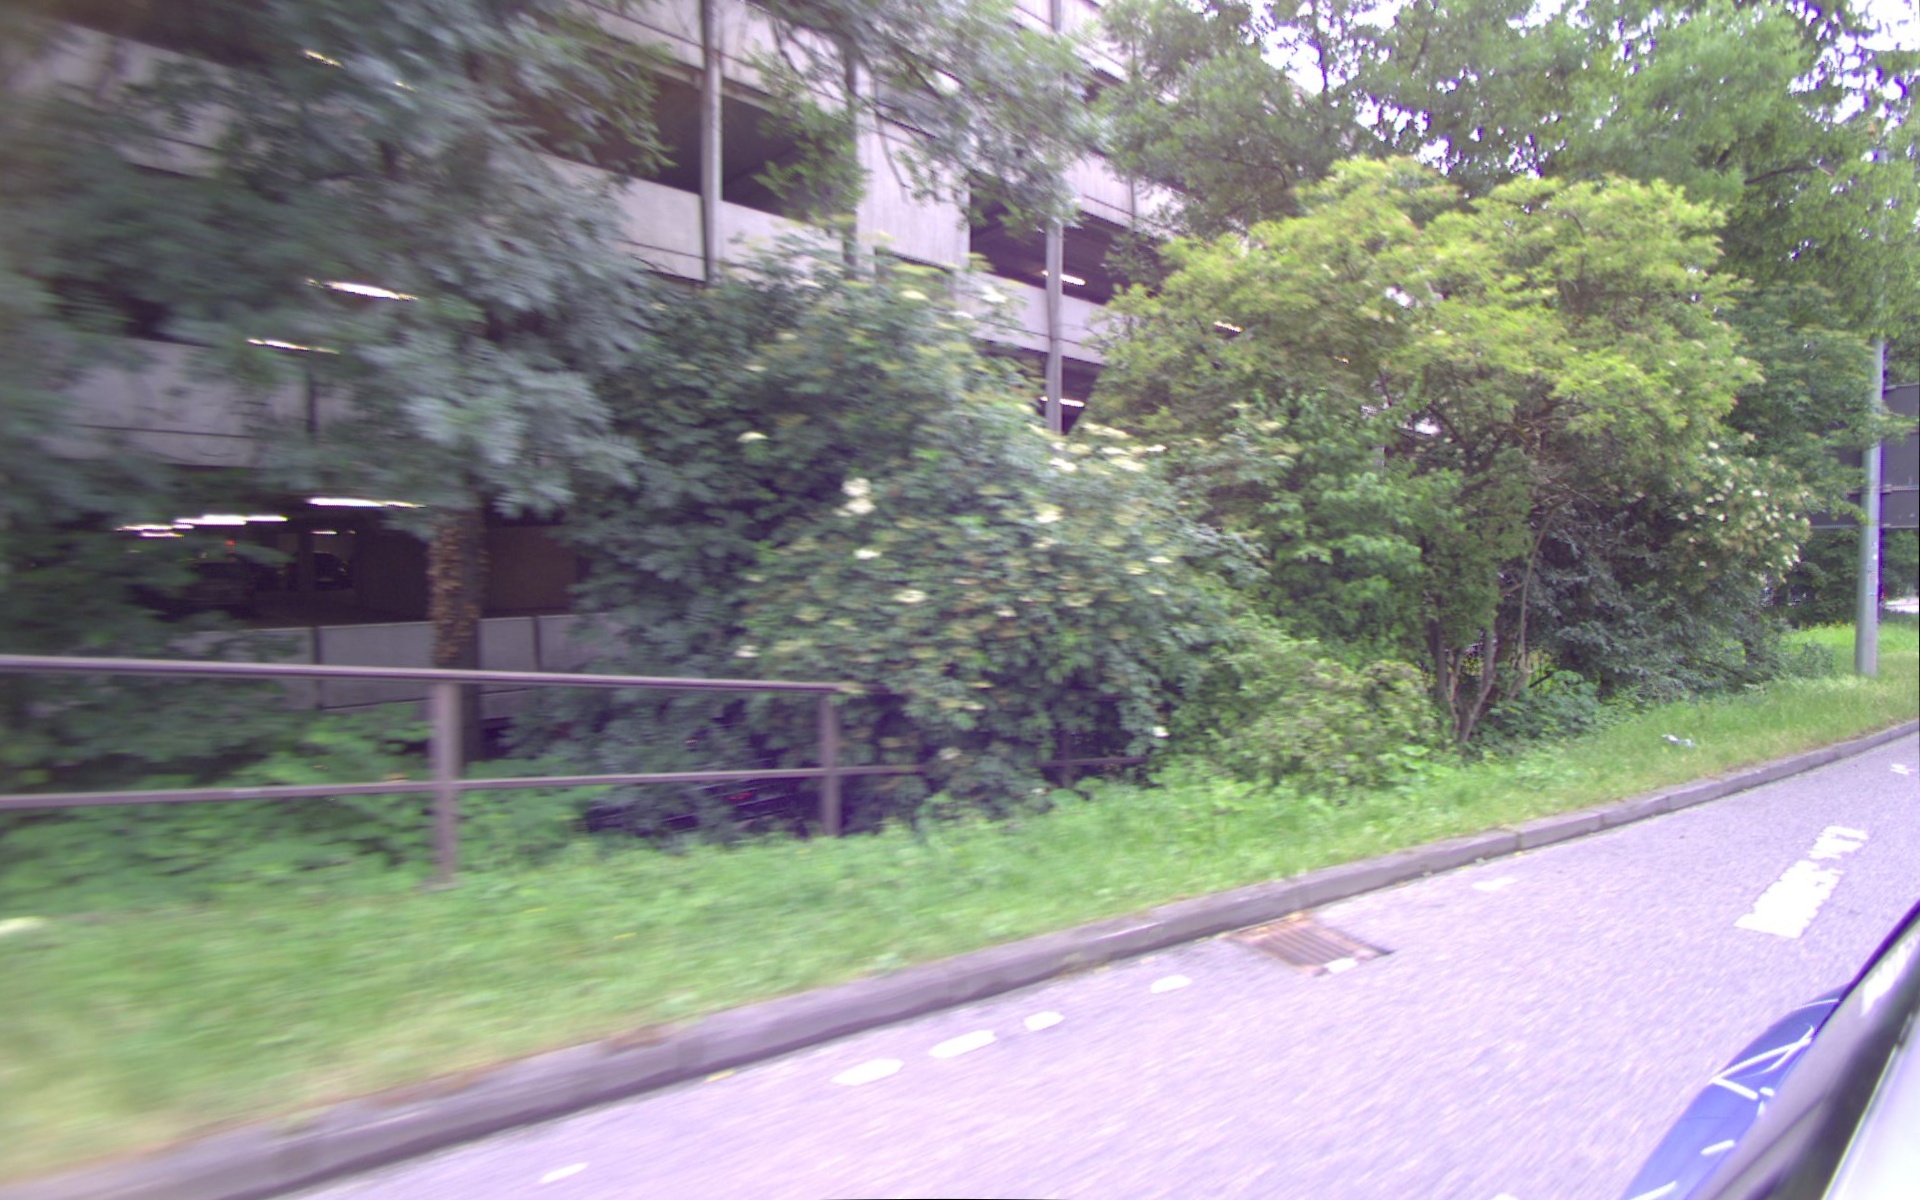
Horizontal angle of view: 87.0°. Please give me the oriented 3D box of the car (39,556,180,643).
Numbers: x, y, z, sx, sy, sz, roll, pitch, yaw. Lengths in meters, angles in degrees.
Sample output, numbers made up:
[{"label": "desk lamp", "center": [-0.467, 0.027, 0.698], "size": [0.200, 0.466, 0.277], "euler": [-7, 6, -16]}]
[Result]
[{"label": "car", "center": [-17.062, -0.103, 20.249], "size": [1.846, 1.497, 3.991], "euler": [-4, 5, -44]}]

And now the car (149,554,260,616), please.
[{"label": "car", "center": [-19.019, -0.380, 25.415], "size": [3.670, 1.438, 1.691], "euler": [2, 1, 44]}]

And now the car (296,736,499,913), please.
[{"label": "car", "center": [-8.007, 3.018, 14.293], "size": [1.637, 1.530, 3.387], "euler": [-4, 4, -44]}]
